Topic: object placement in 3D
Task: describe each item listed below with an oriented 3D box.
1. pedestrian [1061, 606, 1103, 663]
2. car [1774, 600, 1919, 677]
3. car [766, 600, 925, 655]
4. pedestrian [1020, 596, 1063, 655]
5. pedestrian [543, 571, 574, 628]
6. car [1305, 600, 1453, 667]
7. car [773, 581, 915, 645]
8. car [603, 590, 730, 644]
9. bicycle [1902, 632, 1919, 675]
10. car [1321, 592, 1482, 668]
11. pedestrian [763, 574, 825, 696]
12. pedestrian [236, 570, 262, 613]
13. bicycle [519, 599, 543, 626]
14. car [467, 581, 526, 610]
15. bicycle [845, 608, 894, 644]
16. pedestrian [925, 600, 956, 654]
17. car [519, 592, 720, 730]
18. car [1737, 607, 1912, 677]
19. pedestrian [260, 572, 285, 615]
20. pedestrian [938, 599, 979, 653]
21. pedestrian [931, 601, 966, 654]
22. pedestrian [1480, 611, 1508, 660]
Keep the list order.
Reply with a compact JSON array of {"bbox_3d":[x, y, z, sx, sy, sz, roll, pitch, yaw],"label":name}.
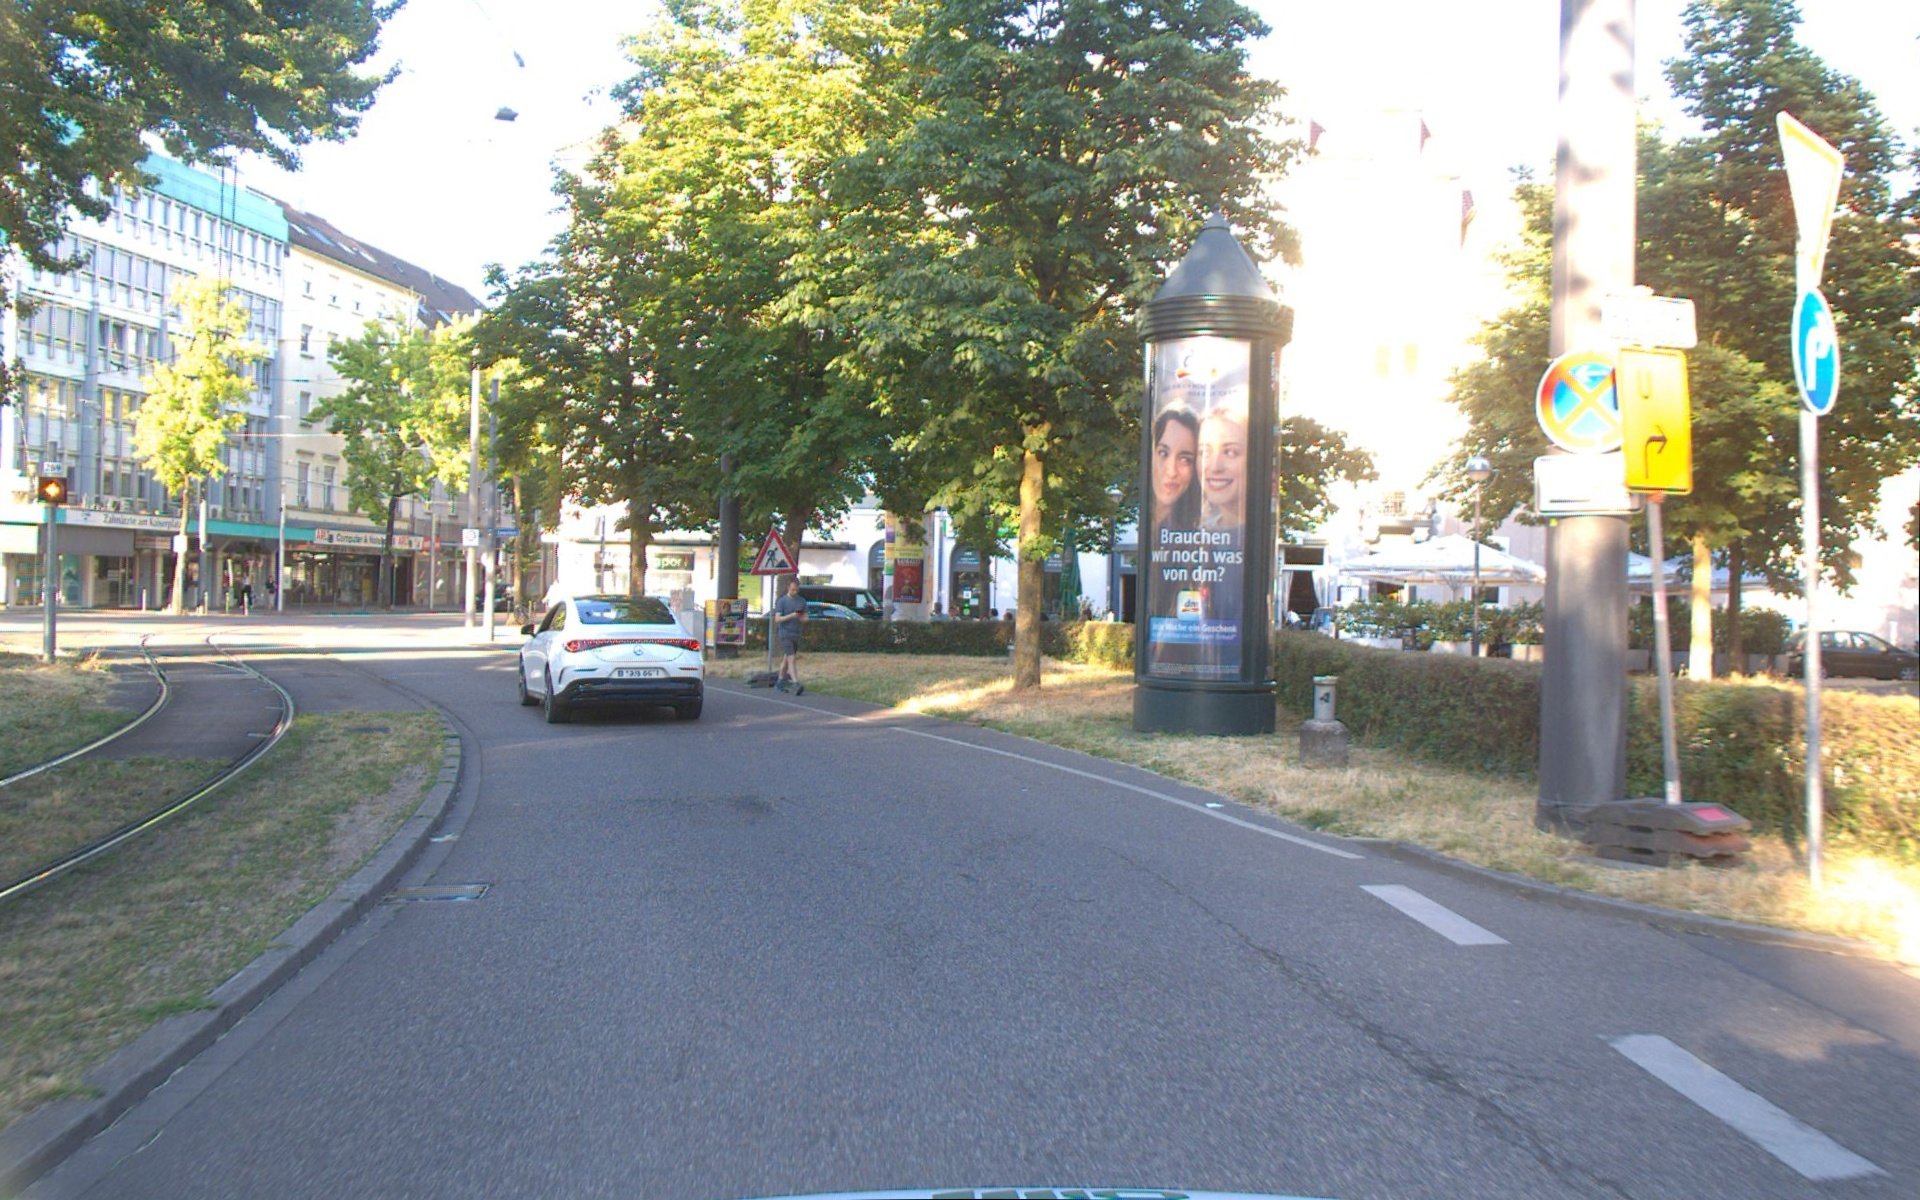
[{"bbox_3d":[2.910,0.829,39.350,0.648,1.264,0.952,5,0,21],"label":"pedestrian"},{"bbox_3d":[25.671,1.091,46.766,4.327,2.049,2.002,2,0,8],"label":"car"},{"bbox_3d":[-3.479,0.814,50.559,4.559,1.540,1.740,1,0,7],"label":"car"},{"bbox_3d":[1.934,0.607,39.115,0.714,1.379,1.015,0,-1,21],"label":"pedestrian"},{"bbox_3d":[-14.622,-0.008,60.220,0.823,2.049,0.847,2,-1,3],"label":"pedestrian"},{"bbox_3d":[13.532,1.069,53.629,4.402,1.998,2.025,2,-1,7],"label":"car"},{"bbox_3d":[-3.874,0.422,55.607,4.402,1.998,2.025,1,0,7],"label":"car"},{"bbox_3d":[-9.079,0.519,51.290,3.490,1.540,1.740,1,0,7],"label":"car"},{"bbox_3d":[27.433,1.513,44.812,3.118,1.151,0.986,2,0,10],"label":"bicycle"},{"bbox_3d":[12.873,0.873,48.453,4.327,2.049,2.002,2,0,8],"label":"car"},{"bbox_3d":[-2.478,0.517,24.667,0.579,1.774,0.639,2,0,44],"label":"pedestrian"},{"bbox_3d":[-34.190,-0.396,79.539,0.780,2.049,0.735,2,-1,9],"label":"pedestrian"},{"bbox_3d":[-17.394,0.509,67.052,0.347,1.095,1.700,2,-1,5],"label":"bicycle"},{"bbox_3d":[-28.157,-0.258,100.629,1.920,1.668,4.003,2,0,9],"label":"car"},{"bbox_3d":[-2.414,0.703,44.368,0.543,0.946,1.526,1,-1,30],"label":"bicycle"},{"bbox_3d":[-0.472,0.642,39.695,0.555,1.266,0.613,1,-1,17],"label":"pedestrian"},{"bbox_3d":[-4.302,0.668,20.461,1.841,1.494,4.018,0,1,-21],"label":"car"},{"bbox_3d":[27.032,1.305,51.832,4.402,1.998,2.025,2,-1,7],"label":"car"},{"bbox_3d":[-32.923,-0.319,79.243,0.780,2.049,0.735,2,-1,9],"label":"pedestrian"},{"bbox_3d":[-0.041,0.674,42.733,0.929,1.306,0.663,5,0,0],"label":"pedestrian"},{"bbox_3d":[-0.279,0.669,41.082,0.761,1.264,0.989,2,0,4],"label":"pedestrian"},{"bbox_3d":[12.688,0.852,39.291,0.545,1.137,0.493,1,-1,28],"label":"pedestrian"}]
